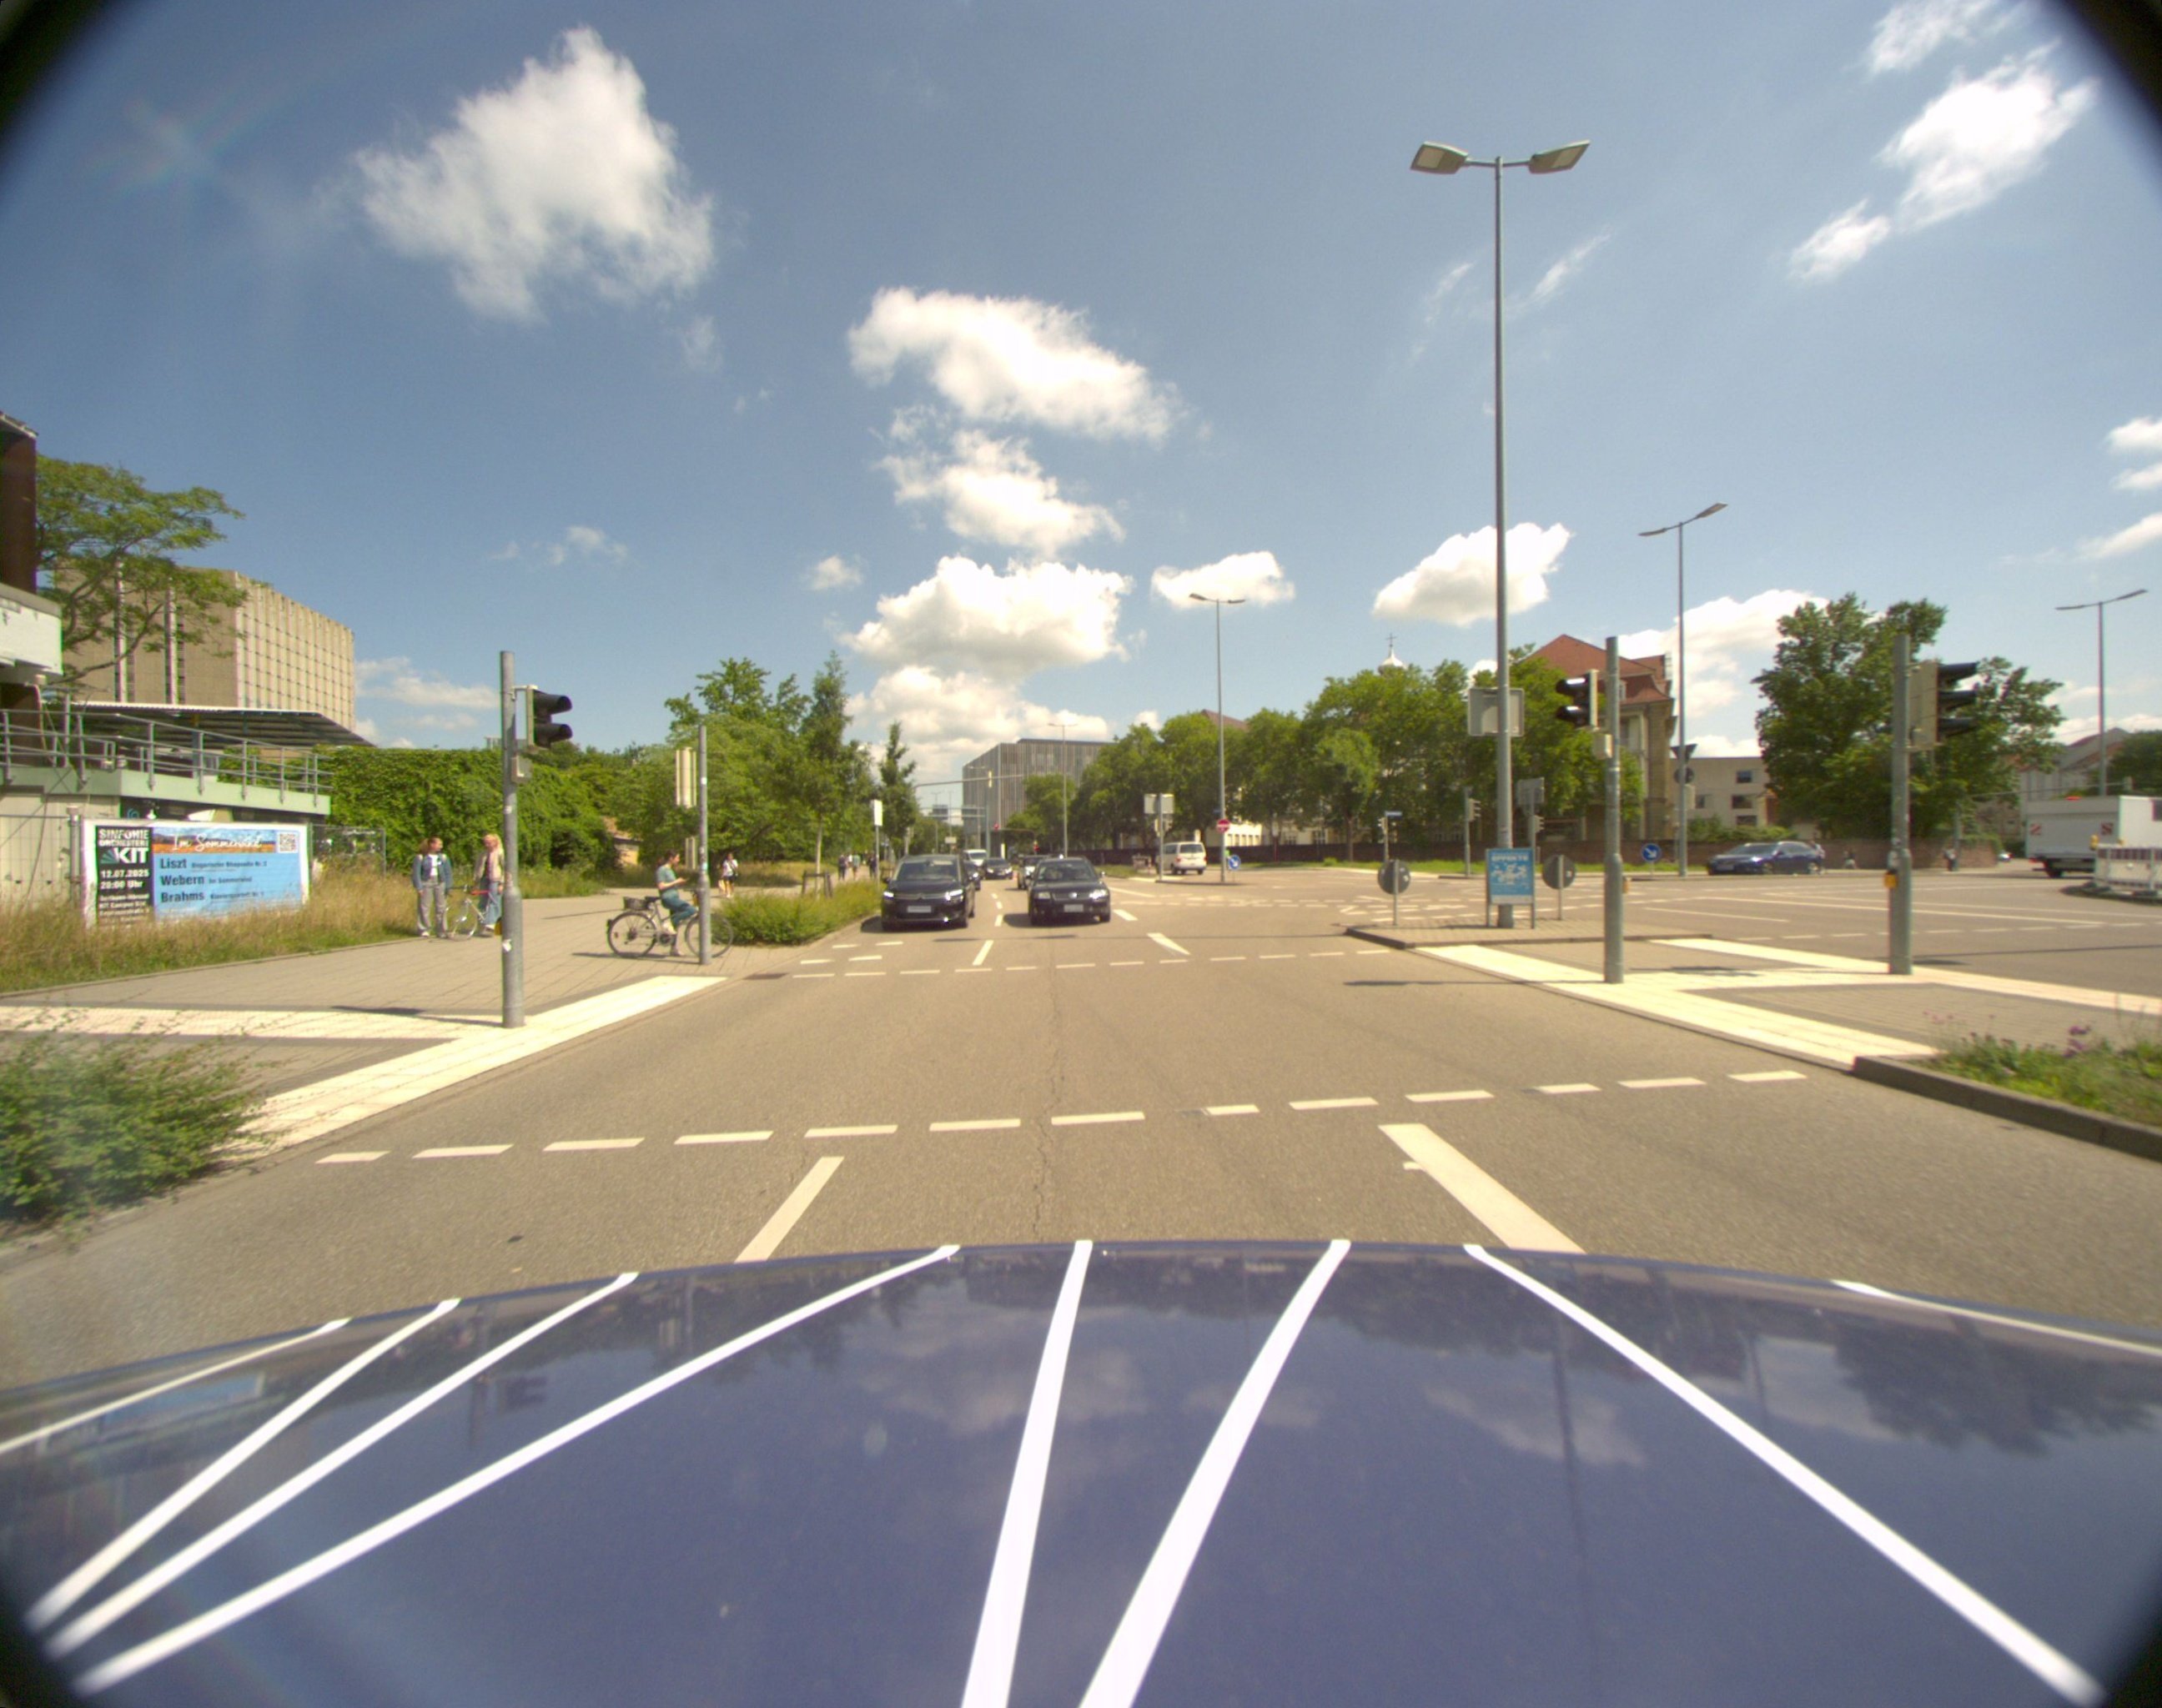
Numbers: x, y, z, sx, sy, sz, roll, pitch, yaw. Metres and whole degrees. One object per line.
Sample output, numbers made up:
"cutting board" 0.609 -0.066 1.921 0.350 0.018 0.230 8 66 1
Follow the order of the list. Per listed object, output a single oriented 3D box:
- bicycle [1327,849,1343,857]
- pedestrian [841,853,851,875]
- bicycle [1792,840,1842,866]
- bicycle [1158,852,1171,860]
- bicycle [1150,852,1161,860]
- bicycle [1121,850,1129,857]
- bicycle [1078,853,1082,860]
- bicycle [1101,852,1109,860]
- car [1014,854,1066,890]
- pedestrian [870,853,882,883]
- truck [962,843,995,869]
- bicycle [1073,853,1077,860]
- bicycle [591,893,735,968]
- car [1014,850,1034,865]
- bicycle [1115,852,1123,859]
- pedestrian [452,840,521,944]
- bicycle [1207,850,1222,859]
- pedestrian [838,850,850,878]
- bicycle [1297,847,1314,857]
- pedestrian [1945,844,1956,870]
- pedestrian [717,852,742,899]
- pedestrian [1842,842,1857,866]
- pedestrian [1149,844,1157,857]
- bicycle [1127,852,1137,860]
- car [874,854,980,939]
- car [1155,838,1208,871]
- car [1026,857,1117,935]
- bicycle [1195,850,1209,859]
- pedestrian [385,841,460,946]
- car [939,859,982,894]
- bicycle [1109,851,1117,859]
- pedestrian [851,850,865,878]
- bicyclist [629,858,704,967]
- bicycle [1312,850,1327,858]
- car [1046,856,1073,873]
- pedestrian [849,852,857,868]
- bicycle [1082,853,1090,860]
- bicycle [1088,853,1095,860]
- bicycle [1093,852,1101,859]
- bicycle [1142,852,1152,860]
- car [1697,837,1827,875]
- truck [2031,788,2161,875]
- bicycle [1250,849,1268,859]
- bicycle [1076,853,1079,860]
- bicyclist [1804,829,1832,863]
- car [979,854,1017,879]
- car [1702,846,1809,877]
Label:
"bicycle" 25.794 -0.139 77.134 0.399 0.784 1.540 -2 1 -43
"pedestrian" -18.750 0.834 60.681 0.752 1.739 0.666 1 0 -16
"bicycle" 34.180 -0.059 35.272 2.069 1.140 0.667 -2 2 -13
"bicycle" 10.609 0.245 96.443 0.398 1.037 1.953 -1 1 -33
"bicycle" 9.580 0.258 98.099 0.398 1.037 1.757 -1 1 -31
"bicycle" 6.049 -0.058 104.149 0.378 1.037 1.413 -1 1 -30
"bicycle" -0.200 0.405 116.344 0.382 1.101 1.671 -1 1 6
"bicycle" 3.436 0.267 108.837 0.383 1.037 1.666 -1 1 -28
"car" -2.008 0.795 35.697 1.753 1.496 4.515 -3 1 -11
"pedestrian" -11.949 0.802 44.345 0.669 1.739 0.846 0 0 -16
"truck" -10.176 0.181 75.137 2.465 2.287 5.808 -3 1 -15
"bicycle" -0.880 0.397 117.829 0.382 1.101 1.671 -1 1 6
"bicycle" -6.334 1.161 11.587 1.815 1.044 0.591 2 2 -9
"car" -8.581 0.546 114.059 2.217 2.158 4.514 0 0 -14
"bicycle" 5.291 0.223 105.520 0.383 1.037 1.666 -1 1 -28
"pedestrian" -10.523 0.656 13.473 0.752 1.792 0.609 1 0 -9
"bicycle" 15.611 0.012 89.042 0.399 1.037 1.953 -1 1 -35
"pedestrian" -14.724 0.623 47.242 0.669 1.736 0.608 0 0 -22
"bicycle" 23.521 -0.161 79.545 0.399 1.024 1.682 -2 1 -43
"pedestrian" 60.859 0.213 53.175 0.570 1.810 0.437 -3 2 -33
"pedestrian" -12.206 0.733 26.440 0.753 1.587 0.880 0 0 -23
"pedestrian" 55.220 0.002 54.628 0.678 1.686 0.489 -1 2 35
"pedestrian" 9.125 -0.421 96.156 0.779 1.602 0.724 0 1 45
"bicycle" 6.858 0.231 102.751 0.398 1.037 1.757 -1 1 -30
"car" -3.419 0.853 17.685 1.863 1.613 4.517 -3 1 -5
"car" 6.147 0.027 46.988 1.887 1.883 4.865 -1 0 -9
"car" -0.358 0.859 17.773 1.752 1.426 4.518 -5 0 -4
"bicycle" 14.462 0.058 90.716 0.399 1.037 1.953 -1 1 -35
"pedestrian" -11.232 0.665 12.975 0.752 1.742 0.609 1 0 -9
"car" -5.790 1.027 36.252 1.767 1.409 4.359 -3 1 -12
"bicycle" 4.490 0.157 107.085 0.383 1.037 1.666 -1 1 -28
"pedestrian" -13.990 0.616 47.742 0.753 1.767 0.880 0 0 -22
"bicyclist" -6.300 0.881 11.583 0.830 1.592 0.579 2 2 -9
"bicycle" 24.596 0.007 78.361 0.399 0.784 1.462 -2 1 -43
"car" -2.273 1.096 79.946 1.888 1.614 4.150 -2 0 -15
"pedestrian" -26.299 0.677 87.689 0.845 1.755 0.840 -2 2 -16
"bicycle" 0.745 0.421 114.768 0.383 1.101 1.667 -1 1 -25
"bicycle" 1.560 0.392 112.909 0.383 1.101 1.666 -1 1 -27
"bicycle" 2.329 0.242 111.393 0.383 1.101 1.666 -1 1 -28
"bicycle" 8.657 0.296 99.667 0.398 0.998 1.757 -1 1 -30
"car" 27.631 0.060 30.836 4.673 1.477 1.996 -1 0 -20
"truck" 39.400 -0.928 28.946 7.337 3.050 1.996 -2 2 -22
"bicycle" 19.673 0.010 84.074 0.399 1.130 2.033 -2 1 -40
"bicycle" -0.542 0.401 117.031 0.382 1.101 1.671 -1 1 6
"bicyclist" 34.201 -0.388 35.265 0.647 1.524 0.667 -2 2 -13
"car" -5.578 0.785 50.628 1.753 1.496 4.514 -3 1 -15
"car" 34.234 0.378 38.576 4.513 1.477 1.997 -1 0 -16
